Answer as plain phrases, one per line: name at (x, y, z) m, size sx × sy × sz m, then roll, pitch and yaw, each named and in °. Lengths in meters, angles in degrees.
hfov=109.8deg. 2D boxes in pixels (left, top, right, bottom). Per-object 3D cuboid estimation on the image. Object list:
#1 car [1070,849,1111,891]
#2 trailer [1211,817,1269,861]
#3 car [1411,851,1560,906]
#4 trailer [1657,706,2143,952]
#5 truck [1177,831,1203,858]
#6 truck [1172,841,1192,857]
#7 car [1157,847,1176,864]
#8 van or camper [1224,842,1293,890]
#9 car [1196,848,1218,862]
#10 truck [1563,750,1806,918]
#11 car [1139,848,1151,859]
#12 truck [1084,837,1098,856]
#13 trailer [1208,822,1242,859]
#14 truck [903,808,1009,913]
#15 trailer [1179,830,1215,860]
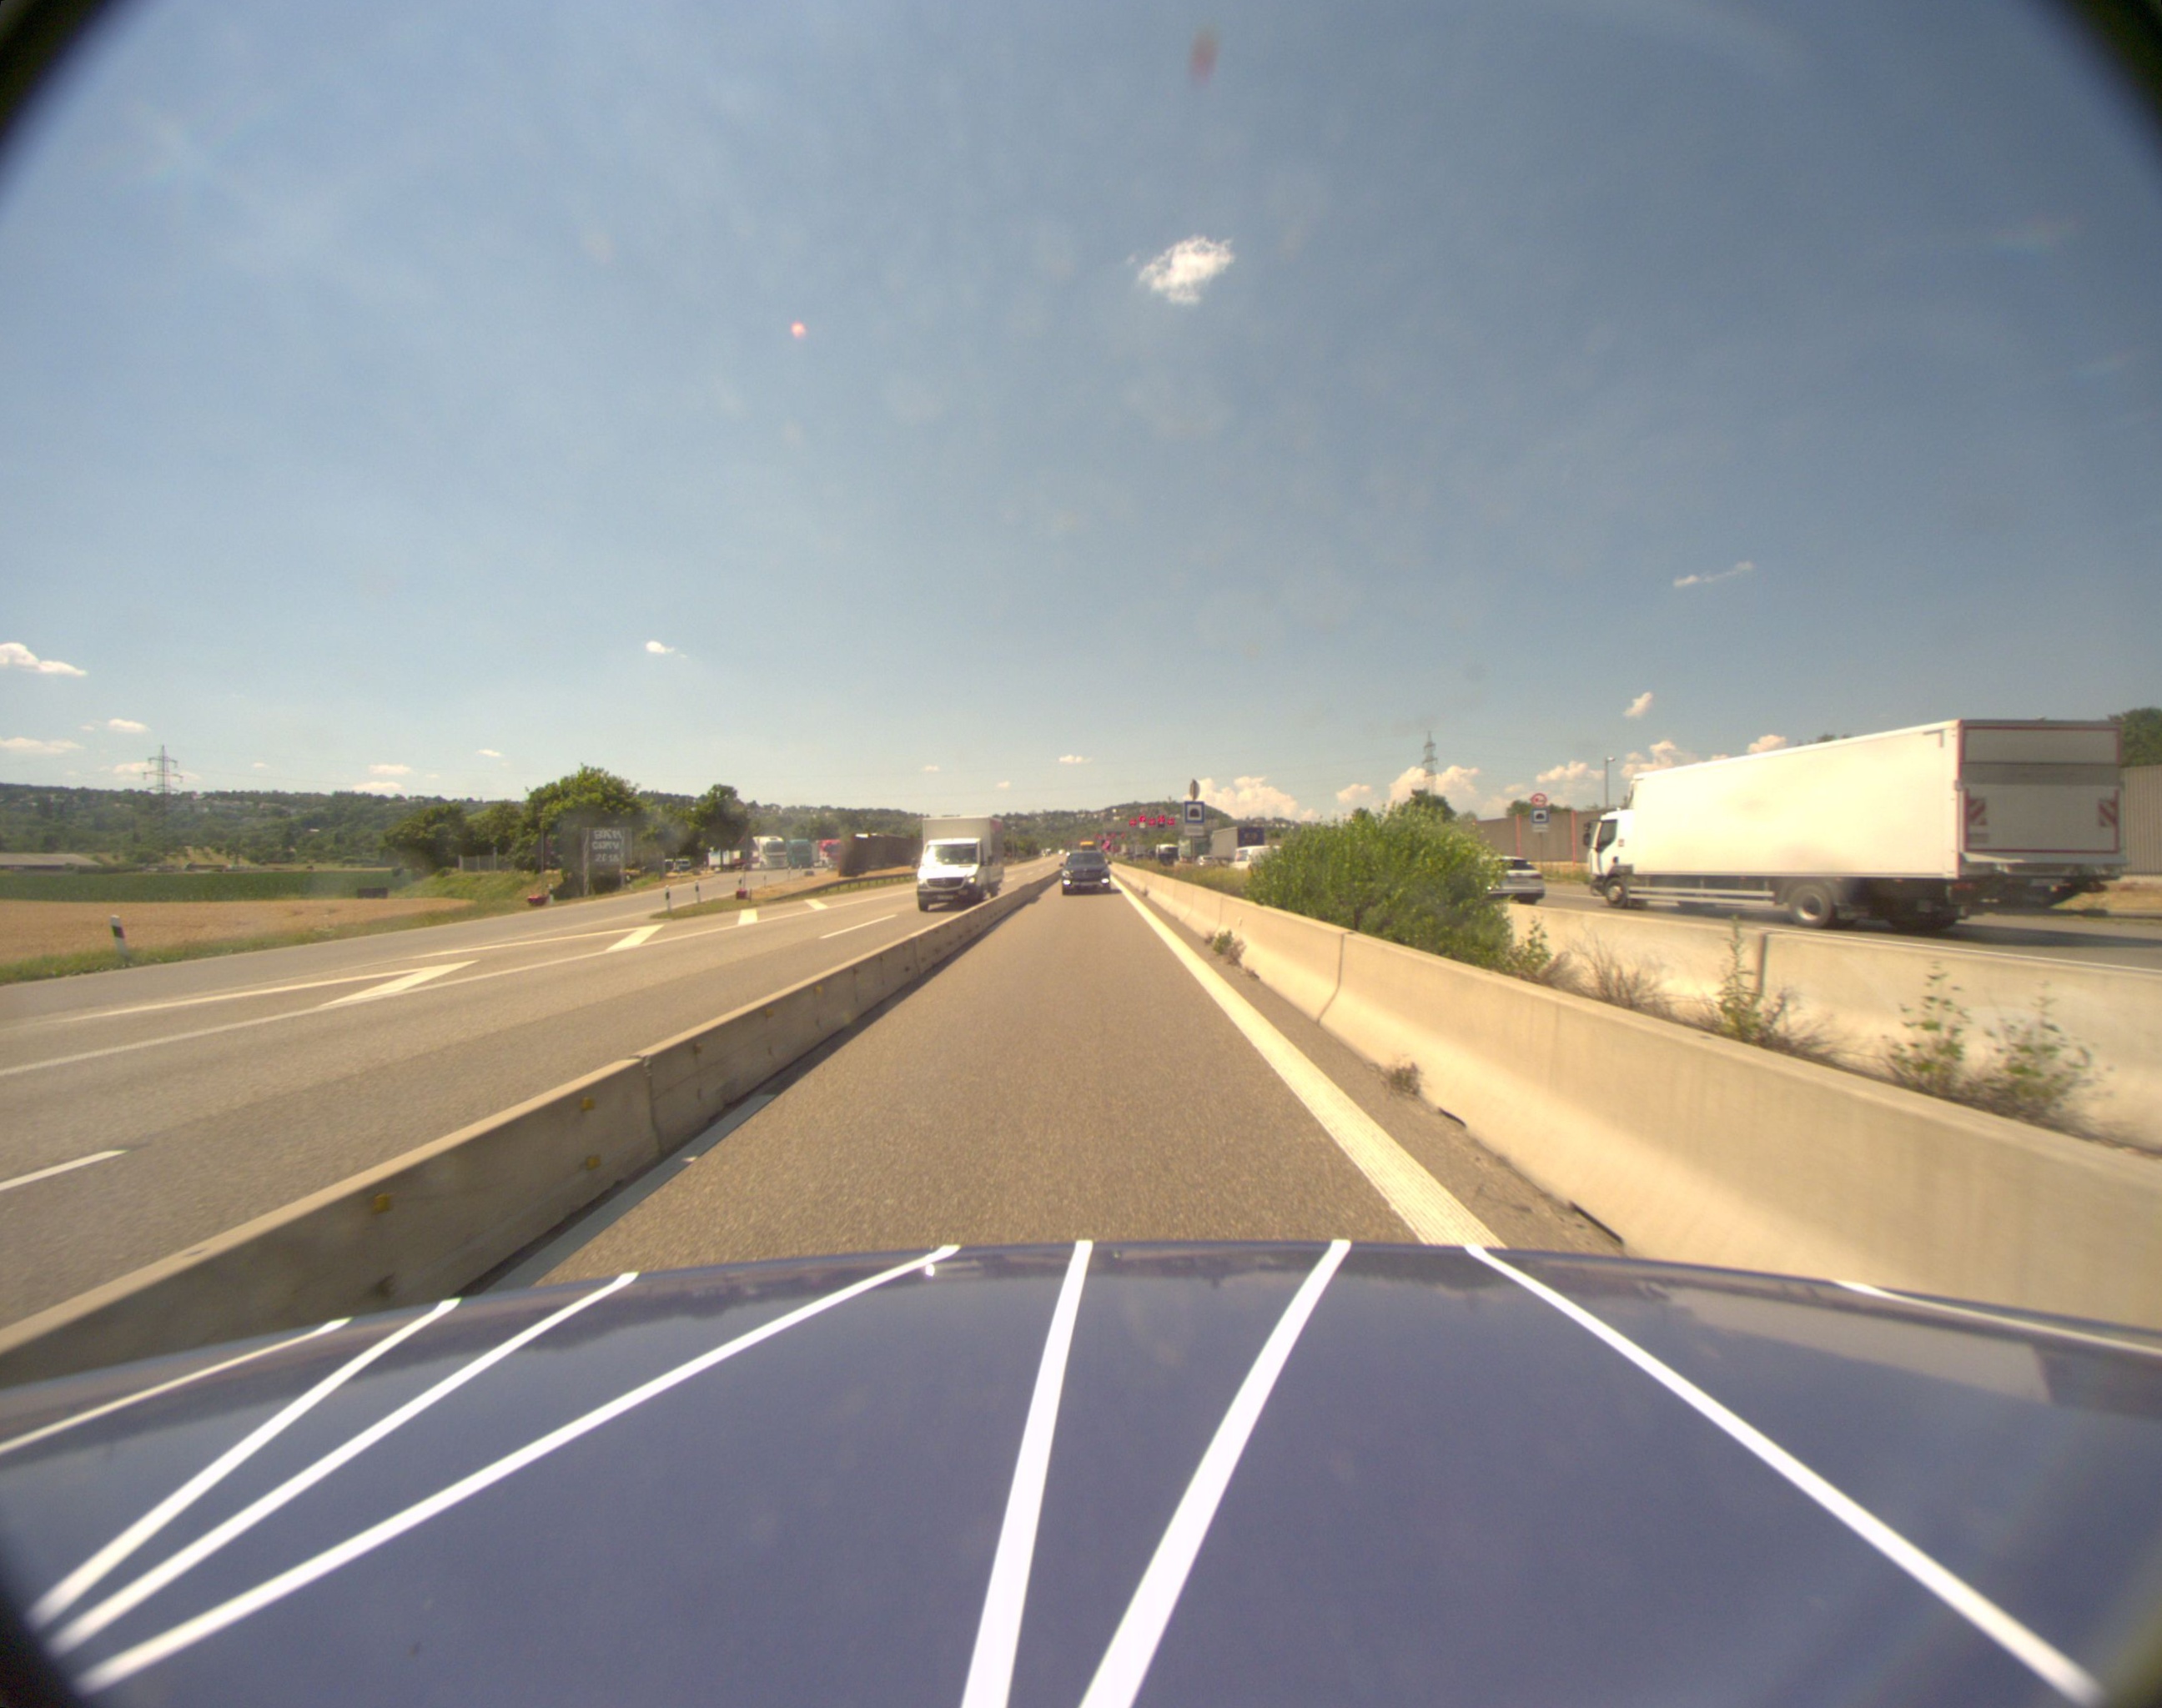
car at (0.435, 0.681, 33.567) m, size 1.630 × 1.711 × 3.865 m, roll -2°, pitch -1°, yaw 1°
trailer at (16.397, -1.482, 79.628) m, size 2.991 × 4.043 × 15.162 m, roll -2°, pitch 0°, yaw 1°
car at (11.879, 0.642, 22.769) m, size 1.795 × 1.422 × 5.104 m, roll 0°, pitch 1°, yaw 1°
trailer at (15.410, -0.418, 15.290) m, size 2.654 × 3.851 × 6.616 m, roll -1°, pitch 1°, yaw 1°
truck at (17.377, -1.476, 121.256) m, size 3.231 × 4.033 × 5.020 m, roll -3°, pitch 1°, yaw 1°
truck at (18.077, -0.918, 137.001) m, size 2.405 × 2.856 × 9.090 m, roll -2°, pitch 0°, yaw 1°
car at (8.957, 0.128, 79.902) m, size 1.654 × 1.694 × 3.741 m, roll -2°, pitch 1°, yaw 1°
van or camper at (8.202, 0.500, 35.611) m, size 1.998 × 2.002 × 5.444 m, roll -2°, pitch 1°, yaw 1°
car at (12.819, 0.119, 77.664) m, size 1.654 × 1.331 × 3.741 m, roll -2°, pitch 1°, yaw 1°
truck at (15.449, -0.472, 19.934) m, size 2.647 × 3.851 × 4.725 m, roll -1°, pitch 1°, yaw 1°
car at (9.507, -0.077, 113.727) m, size 1.515 × 1.530 × 3.183 m, roll -2°, pitch 1°, yaw 1°
truck at (1.752, -1.357, 135.878) m, size 2.272 × 3.139 × 8.186 m, roll -3°, pitch 1°, yaw 1°
trailer at (16.483, -1.535, 87.248) m, size 2.967 × 4.043 × 4.456 m, roll -2°, pitch 1°, yaw 1°
truck at (-4.084, 0.243, 26.251) m, size 2.326 × 3.049 × 6.752 m, roll -3°, pitch -1°, yaw 1°
trailer at (17.293, -1.387, 114.558) m, size 3.263 × 4.033 × 14.389 m, roll -3°, pitch 1°, yaw 1°
